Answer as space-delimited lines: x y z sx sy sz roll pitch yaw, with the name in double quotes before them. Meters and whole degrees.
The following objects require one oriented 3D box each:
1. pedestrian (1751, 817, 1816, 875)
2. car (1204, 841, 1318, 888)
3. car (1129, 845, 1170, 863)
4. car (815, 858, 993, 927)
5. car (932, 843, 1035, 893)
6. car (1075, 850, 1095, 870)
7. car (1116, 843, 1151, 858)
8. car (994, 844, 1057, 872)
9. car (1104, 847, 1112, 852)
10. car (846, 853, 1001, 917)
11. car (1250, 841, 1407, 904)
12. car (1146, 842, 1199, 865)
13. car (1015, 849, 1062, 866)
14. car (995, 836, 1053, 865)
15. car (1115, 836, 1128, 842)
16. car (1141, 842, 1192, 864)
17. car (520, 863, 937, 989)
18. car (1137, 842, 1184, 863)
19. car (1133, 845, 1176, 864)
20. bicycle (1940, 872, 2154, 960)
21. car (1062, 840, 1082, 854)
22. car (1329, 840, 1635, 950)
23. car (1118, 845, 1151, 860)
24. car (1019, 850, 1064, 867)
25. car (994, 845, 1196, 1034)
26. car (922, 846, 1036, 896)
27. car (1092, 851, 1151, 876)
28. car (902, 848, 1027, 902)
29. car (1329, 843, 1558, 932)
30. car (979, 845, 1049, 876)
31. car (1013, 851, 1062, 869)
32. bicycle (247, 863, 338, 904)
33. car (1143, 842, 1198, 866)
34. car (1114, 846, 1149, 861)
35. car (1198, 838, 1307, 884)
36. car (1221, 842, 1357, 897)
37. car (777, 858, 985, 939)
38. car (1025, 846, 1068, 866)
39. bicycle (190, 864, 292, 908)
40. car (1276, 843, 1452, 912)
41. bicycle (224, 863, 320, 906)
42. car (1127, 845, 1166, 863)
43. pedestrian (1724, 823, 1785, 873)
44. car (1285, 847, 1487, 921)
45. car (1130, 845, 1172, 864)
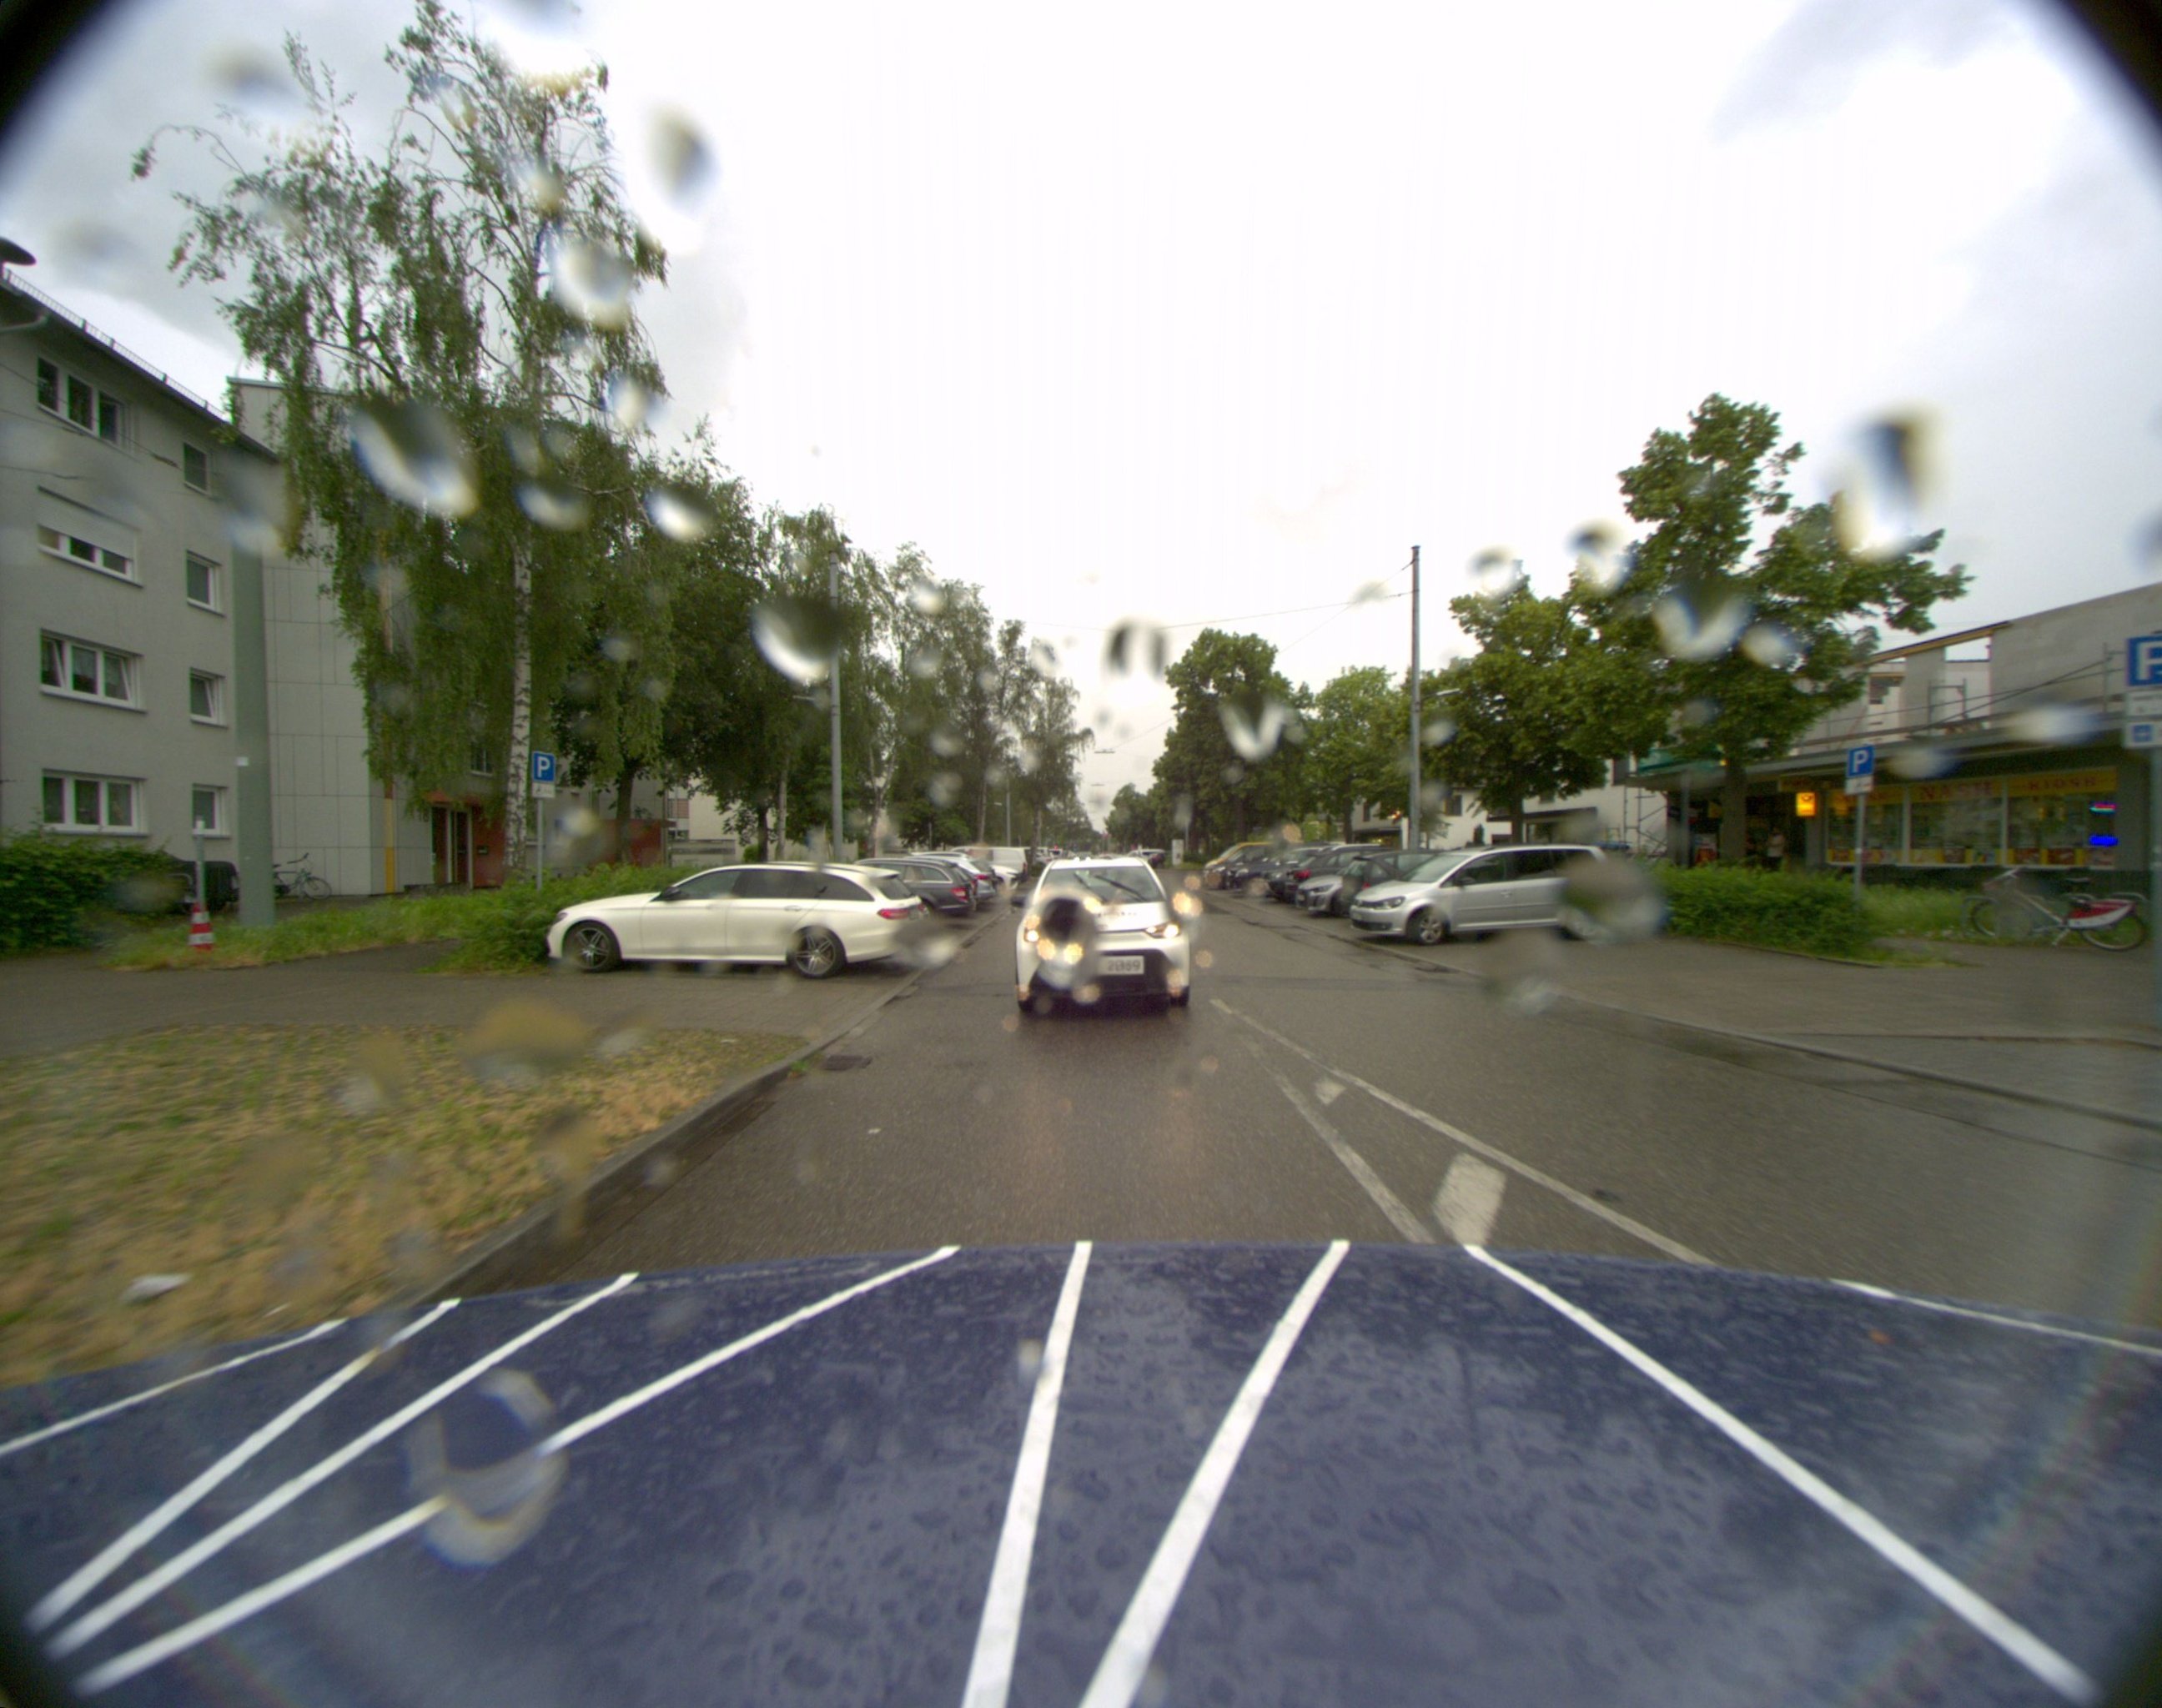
"pedestrian" 20.990 -0.238 22.730 1.078 1.704 0.948 0 2 11
"car" 7.527 0.433 32.026 4.303 1.799 1.898 -2 1 -1
"car" 8.007 0.022 89.364 4.546 1.932 1.898 -2 1 -1
"car" -4.369 0.938 19.172 3.996 1.477 1.723 -2 1 1
"car" -4.360 0.620 34.617 4.443 2.050 1.722 -3 1 -3
"car" 0.389 0.625 80.221 1.999 2.002 3.999 -3 1 -1
"car" 7.196 -0.442 104.535 4.546 1.932 1.898 -2 1 -1
"car" -4.125 0.314 56.947 4.546 1.932 1.898 -2 1 -1
"car" 7.700 -1.409 217.318 1.998 1.320 3.999 -2 1 0
"car" -4.430 0.865 21.795 3.996 1.577 1.723 -2 1 1
"car" 7.421 0.536 23.054 4.088 1.699 1.898 -2 1 -1
"car" 8.327 -0.091 69.448 4.546 1.932 1.898 -2 1 -1
"car" -4.188 0.360 75.681 4.546 1.574 1.898 -2 1 -1
"car" -4.566 -0.286 61.279 4.443 2.050 1.722 -3 1 -3
"car" 12.821 -4.740 239.128 3.997 1.688 2.000 -2 1 0
"car" 8.078 -0.107 71.987 4.546 1.932 1.898 -2 1 -1
"car" -4.637 0.919 10.546 4.838 1.449 2.000 1 1 1
"car" 8.001 -0.154 76.838 4.546 1.932 1.898 -2 1 -1
"car" 8.100 0.066 84.125 4.546 1.932 1.898 -2 1 0
"bicycle" 13.462 0.817 10.675 0.594 1.066 1.748 0 1 -17
"car" -2.011 -1.603 172.546 4.546 2.929 1.898 -2 1 -1
"car" 6.919 0.667 13.468 4.335 1.664 2.000 -2 1 -1
"car" 7.745 -0.207 109.820 4.546 1.932 1.898 -2 1 -1
"car" -4.134 0.449 79.831 4.546 1.574 1.898 -2 1 -1
"car" 0.232 0.785 8.438 1.719 1.613 3.717 -1 -1 4
"car" -4.194 0.690 31.695 4.441 1.835 1.723 -2 1 1
"car" 2.745 0.620 52.551 1.967 1.544 3.989 -3 3 -36
"car" -4.420 0.768 29.262 4.441 1.835 1.723 -2 1 1
"car" 7.513 0.660 16.015 3.945 1.664 1.793 -2 1 -1
"car" -4.523 0.399 51.591 4.546 1.932 1.898 -2 1 -1
"car" -4.107 0.546 72.487 4.546 1.574 1.898 -2 1 -1
"bicycle" -19.356 0.710 18.673 1.477 0.946 0.532 -1 1 -14
"car" 7.810 -0.046 66.612 4.546 1.932 1.898 -2 1 -1
"car" 6.931 -0.117 104.818 4.546 1.932 1.898 -2 1 -1
"car" 7.841 0.314 35.103 4.546 1.932 1.898 -2 1 -1
"car" 7.054 0.498 26.030 4.088 1.699 1.898 -2 1 -1
"car" -4.258 0.929 16.577 3.996 1.477 1.723 -2 1 1
"car" -3.760 0.166 83.119 4.546 2.013 1.898 -2 1 -1
"bicycle" -19.070 0.712 17.277 1.477 0.946 0.532 -1 1 -14
"car" 7.687 0.615 20.926 4.088 1.699 1.898 -2 1 -1
"bicycle" -19.217 0.712 18.074 1.477 0.946 0.532 -1 1 -14
"car" 7.946 -0.008 92.319 4.546 1.932 1.898 -2 1 -1
"pedestrian" 21.329 -0.193 24.083 1.078 1.575 0.948 0 2 11
"car" 7.303 0.686 18.523 4.088 1.562 2.000 -2 1 -1
"car" 7.993 0.041 86.734 4.546 1.932 1.898 -2 1 -1
